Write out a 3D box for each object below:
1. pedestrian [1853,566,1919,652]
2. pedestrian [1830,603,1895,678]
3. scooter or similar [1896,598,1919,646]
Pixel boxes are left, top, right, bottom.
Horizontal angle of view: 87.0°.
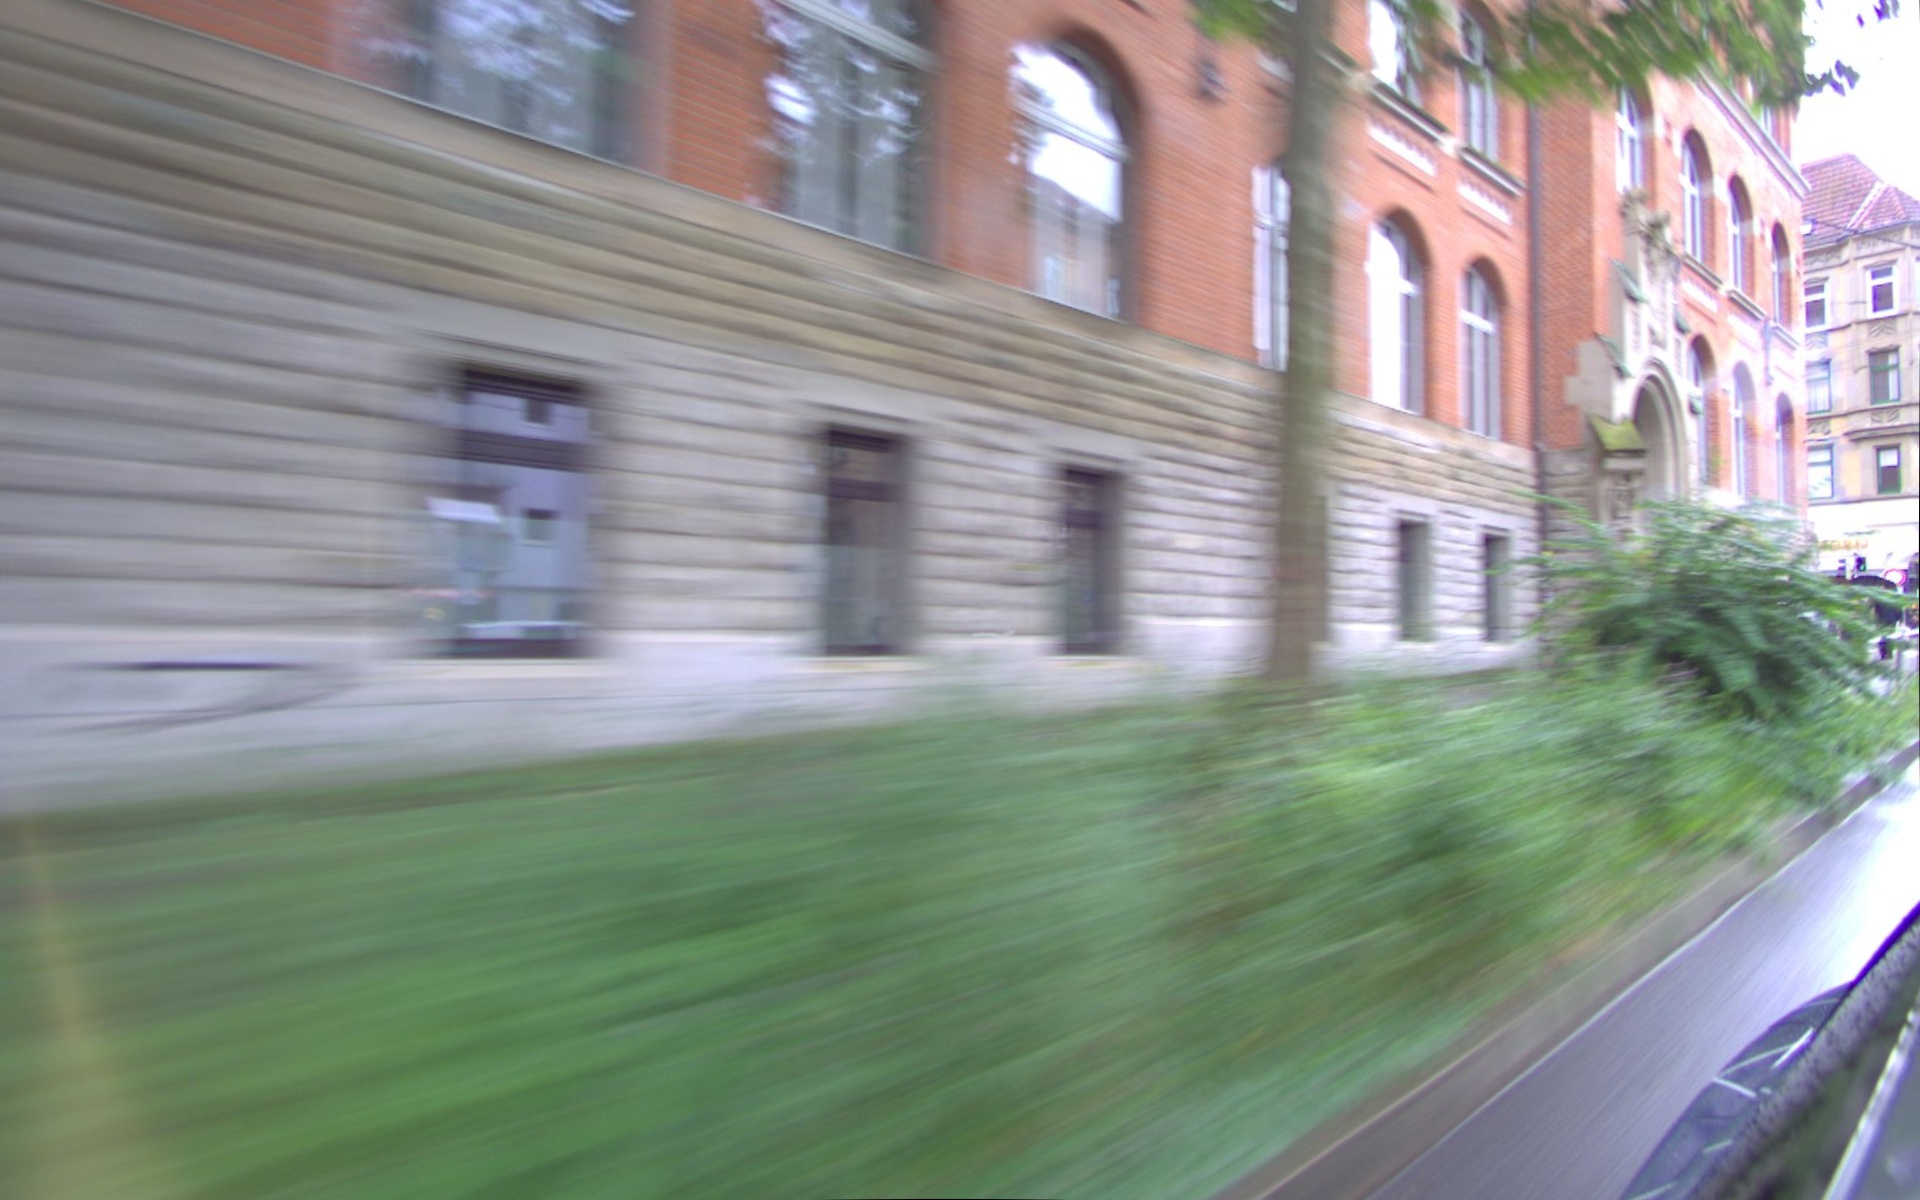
[{"bbox_3d":[21.182,0.194,23.153,1.054,1.911,0.960,0,1,-40],"label":"pedestrian"},{"bbox_3d":[20.758,0.913,23.272,1.054,1.646,0.960,0,1,-40],"label":"pedestrian"},{"bbox_3d":[26.046,0.594,27.128,0.624,1.266,1.253,0,1,-17],"label":"scooter or similar"}]
